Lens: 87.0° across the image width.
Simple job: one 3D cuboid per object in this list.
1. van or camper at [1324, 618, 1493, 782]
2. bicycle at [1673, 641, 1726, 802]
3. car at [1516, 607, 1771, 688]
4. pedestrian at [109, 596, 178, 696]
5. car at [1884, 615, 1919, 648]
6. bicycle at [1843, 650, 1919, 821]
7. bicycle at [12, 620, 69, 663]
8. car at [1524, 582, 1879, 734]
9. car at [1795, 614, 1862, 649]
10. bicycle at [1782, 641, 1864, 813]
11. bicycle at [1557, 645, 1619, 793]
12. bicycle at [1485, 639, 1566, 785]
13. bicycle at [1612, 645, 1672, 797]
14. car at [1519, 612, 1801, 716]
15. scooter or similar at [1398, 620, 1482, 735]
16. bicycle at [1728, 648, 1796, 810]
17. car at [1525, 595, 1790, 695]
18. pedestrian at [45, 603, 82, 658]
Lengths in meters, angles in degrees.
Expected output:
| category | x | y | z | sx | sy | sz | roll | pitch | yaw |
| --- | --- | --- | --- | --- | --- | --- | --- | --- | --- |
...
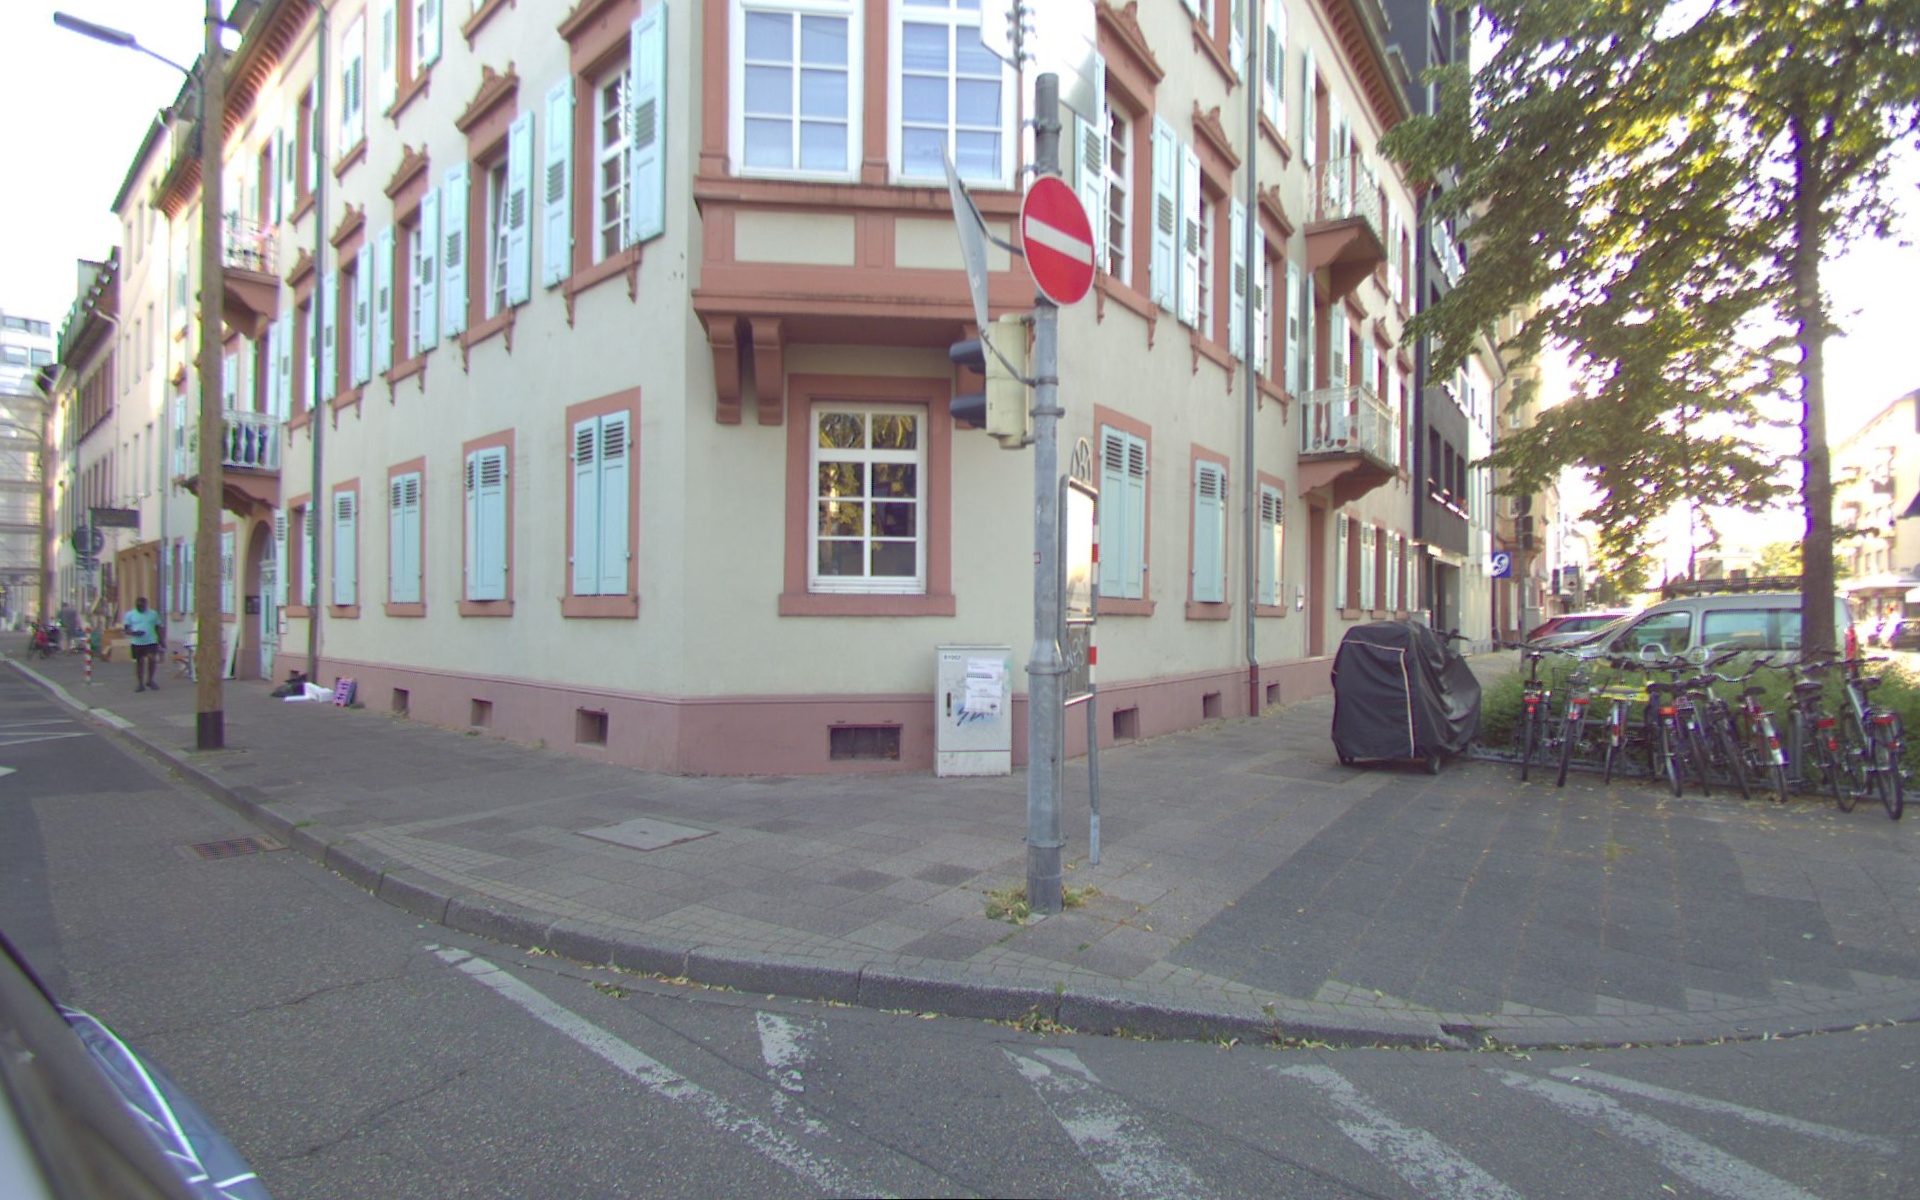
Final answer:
| category | x | y | z | sx | sy | sz | roll | pitch | yaw |
| --- | --- | --- | --- | --- | --- | --- | --- | --- | --- |
| van or camper | 4.020 | 0.809 | 8.989 | 0.943 | 1.269 | 1.821 | 1 | -1 | 38 |
| bicycle | 5.891 | 0.909 | 8.072 | 0.312 | 1.157 | 1.592 | 0 | -2 | 36 |
| car | 13.905 | 0.923 | 20.894 | 4.206 | 1.528 | 1.743 | 0 | -1 | 31 |
| pedestrian | -14.632 | 0.803 | 18.141 | 0.649 | 1.709 | 0.815 | -1 | 1 | 42 |
| car | 46.260 | 1.491 | 49.031 | 1.632 | 1.565 | 2.666 | -1 | -2 | 31 |
| bicycle | 6.940 | 0.951 | 7.521 | 0.396 | 1.116 | 1.691 | 2 | 0 | 36 |
| bicycle | -26.055 | 1.157 | 28.701 | 0.649 | 1.179 | 1.613 | 0 | -1 | -21 |
| car | 10.254 | 0.740 | 14.260 | 3.818 | 1.863 | 1.678 | -1 | -2 | 38 |
| car | 44.361 | 1.579 | 51.801 | 1.996 | 1.667 | 4.620 | 2 | 0 | 34 |
| bicycle | 6.610 | 0.915 | 7.787 | 0.331 | 1.149 | 1.577 | 2 | 0 | 36 |
| bicycle | 5.218 | 0.928 | 8.386 | 0.322 | 1.090 | 1.577 | 0 | -2 | 36 |
| bicycle | 4.861 | 0.903 | 8.659 | 0.396 | 1.090 | 1.577 | 2 | 0 | 36 |
| bicycle | 5.593 | 0.933 | 8.272 | 0.341 | 1.090 | 1.577 | -1 | -2 | 36 |
| car | 11.408 | 0.965 | 16.631 | 3.658 | 1.526 | 1.627 | -1 | -1 | 40 |
| scooter or similar | 5.534 | 0.845 | 11.634 | 0.676 | 1.231 | 1.378 | -1 | -1 | 34 |
| bicycle | 6.237 | 0.950 | 7.901 | 0.319 | 1.090 | 1.577 | 2 | 0 | 36 |
| car | 12.668 | 0.758 | 18.547 | 3.832 | 1.597 | 1.719 | 1 | -1 | 37 |
| pedestrian | -28.113 | 0.949 | 31.728 | 0.649 | 1.709 | 0.815 | -1 | -1 | 42 |
